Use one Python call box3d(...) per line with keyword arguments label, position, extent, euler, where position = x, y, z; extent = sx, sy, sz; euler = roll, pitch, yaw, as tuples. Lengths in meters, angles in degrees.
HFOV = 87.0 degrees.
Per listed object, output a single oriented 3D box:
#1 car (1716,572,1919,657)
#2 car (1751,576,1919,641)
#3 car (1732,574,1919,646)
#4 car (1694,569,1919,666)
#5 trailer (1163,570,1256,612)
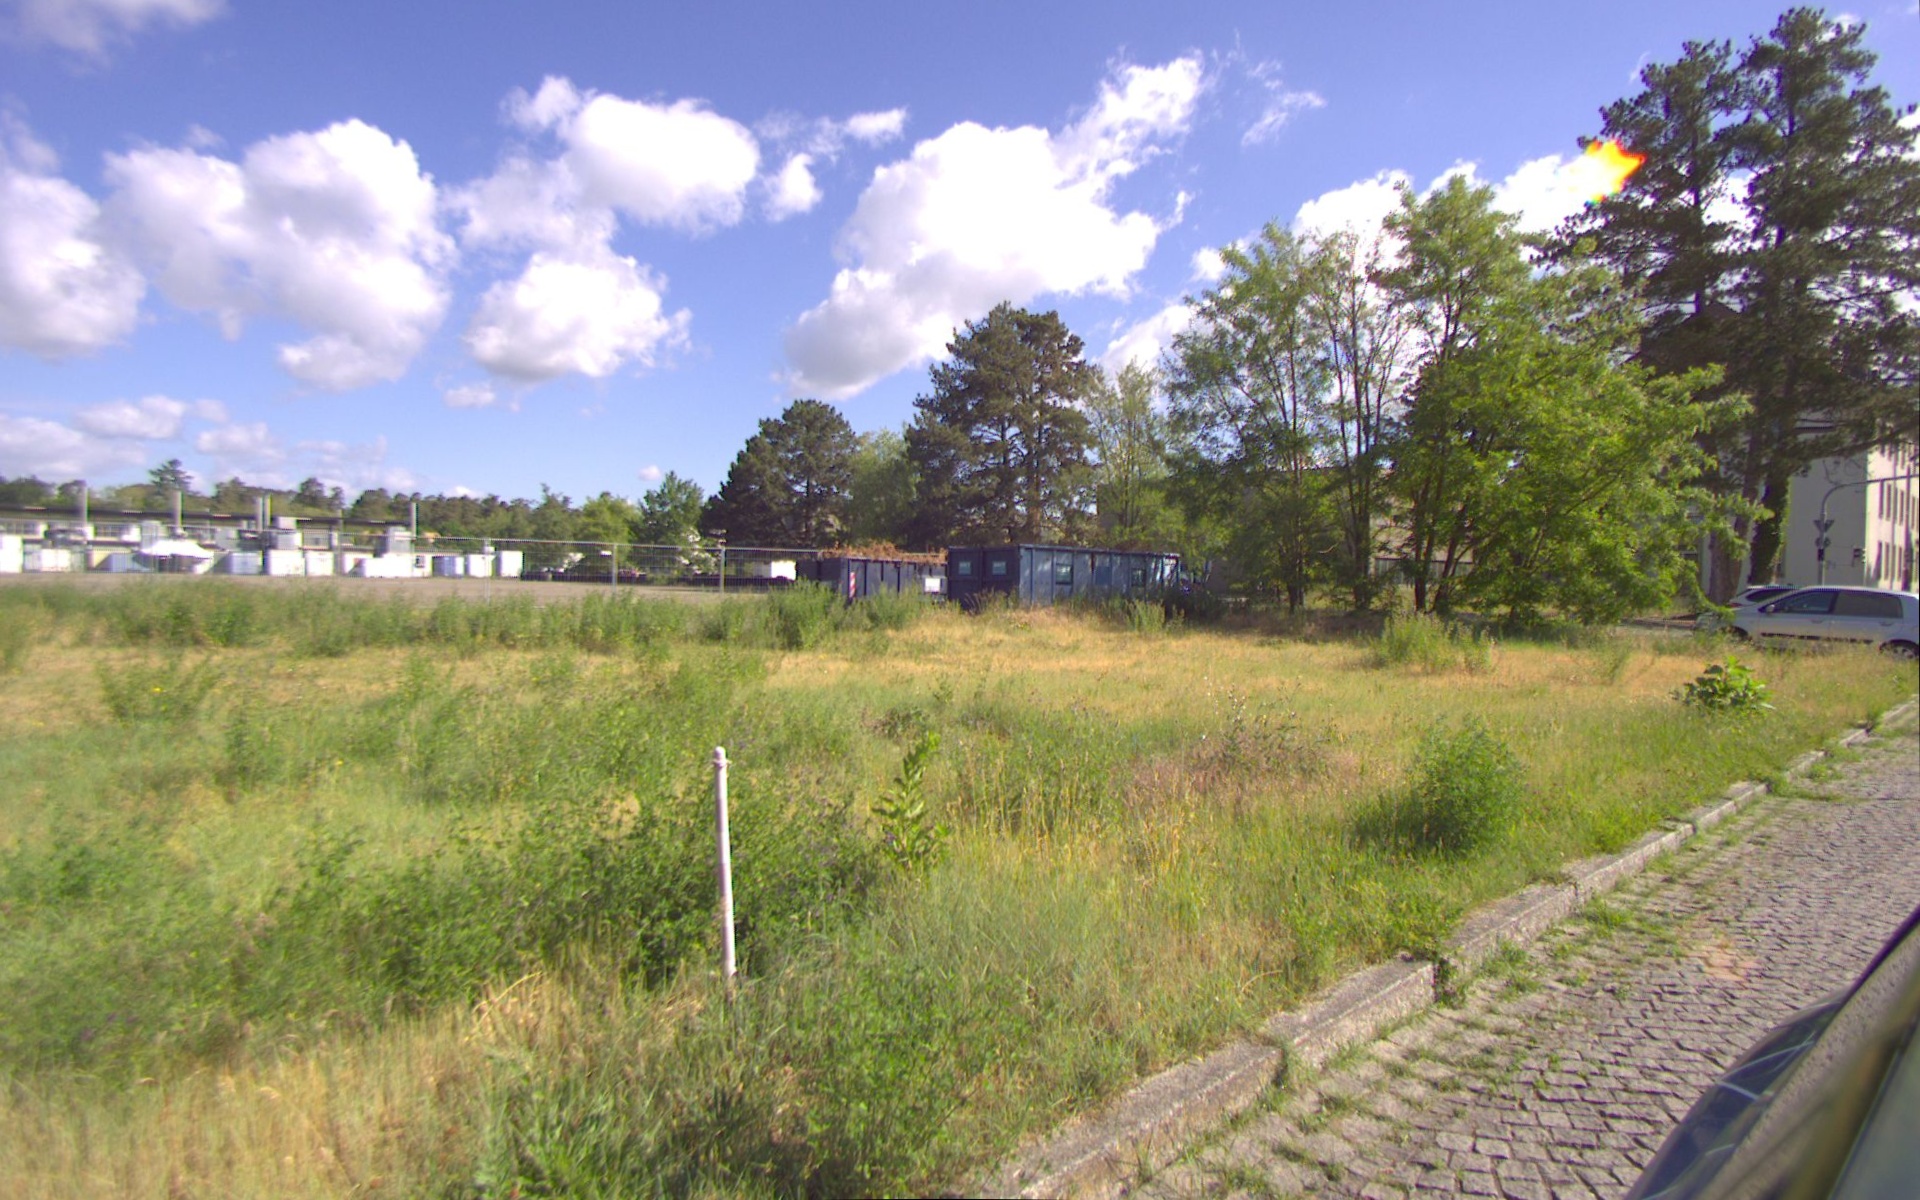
box3d(label="car", position=(18.403, 0.274, 20.998), extent=(1.812, 1.458, 4.013), euler=(0, 5, -42))
box3d(label="car", position=(23.943, 0.206, 26.693), extent=(1.862, 1.438, 4.547), euler=(-1, 5, -41))
box3d(label="car", position=(21.939, 0.220, 24.782), extent=(1.808, 1.482, 4.520), euler=(-1, 5, -43))
box3d(label="car", position=(16.425, 0.279, 19.161), extent=(1.722, 1.494, 3.748), euler=(-1, 5, -42))
box3d(label="trailer", position=(7.031, -0.264, 28.590), extent=(1.019, 1.119, 2.401), euler=(-1, 1, -44))
